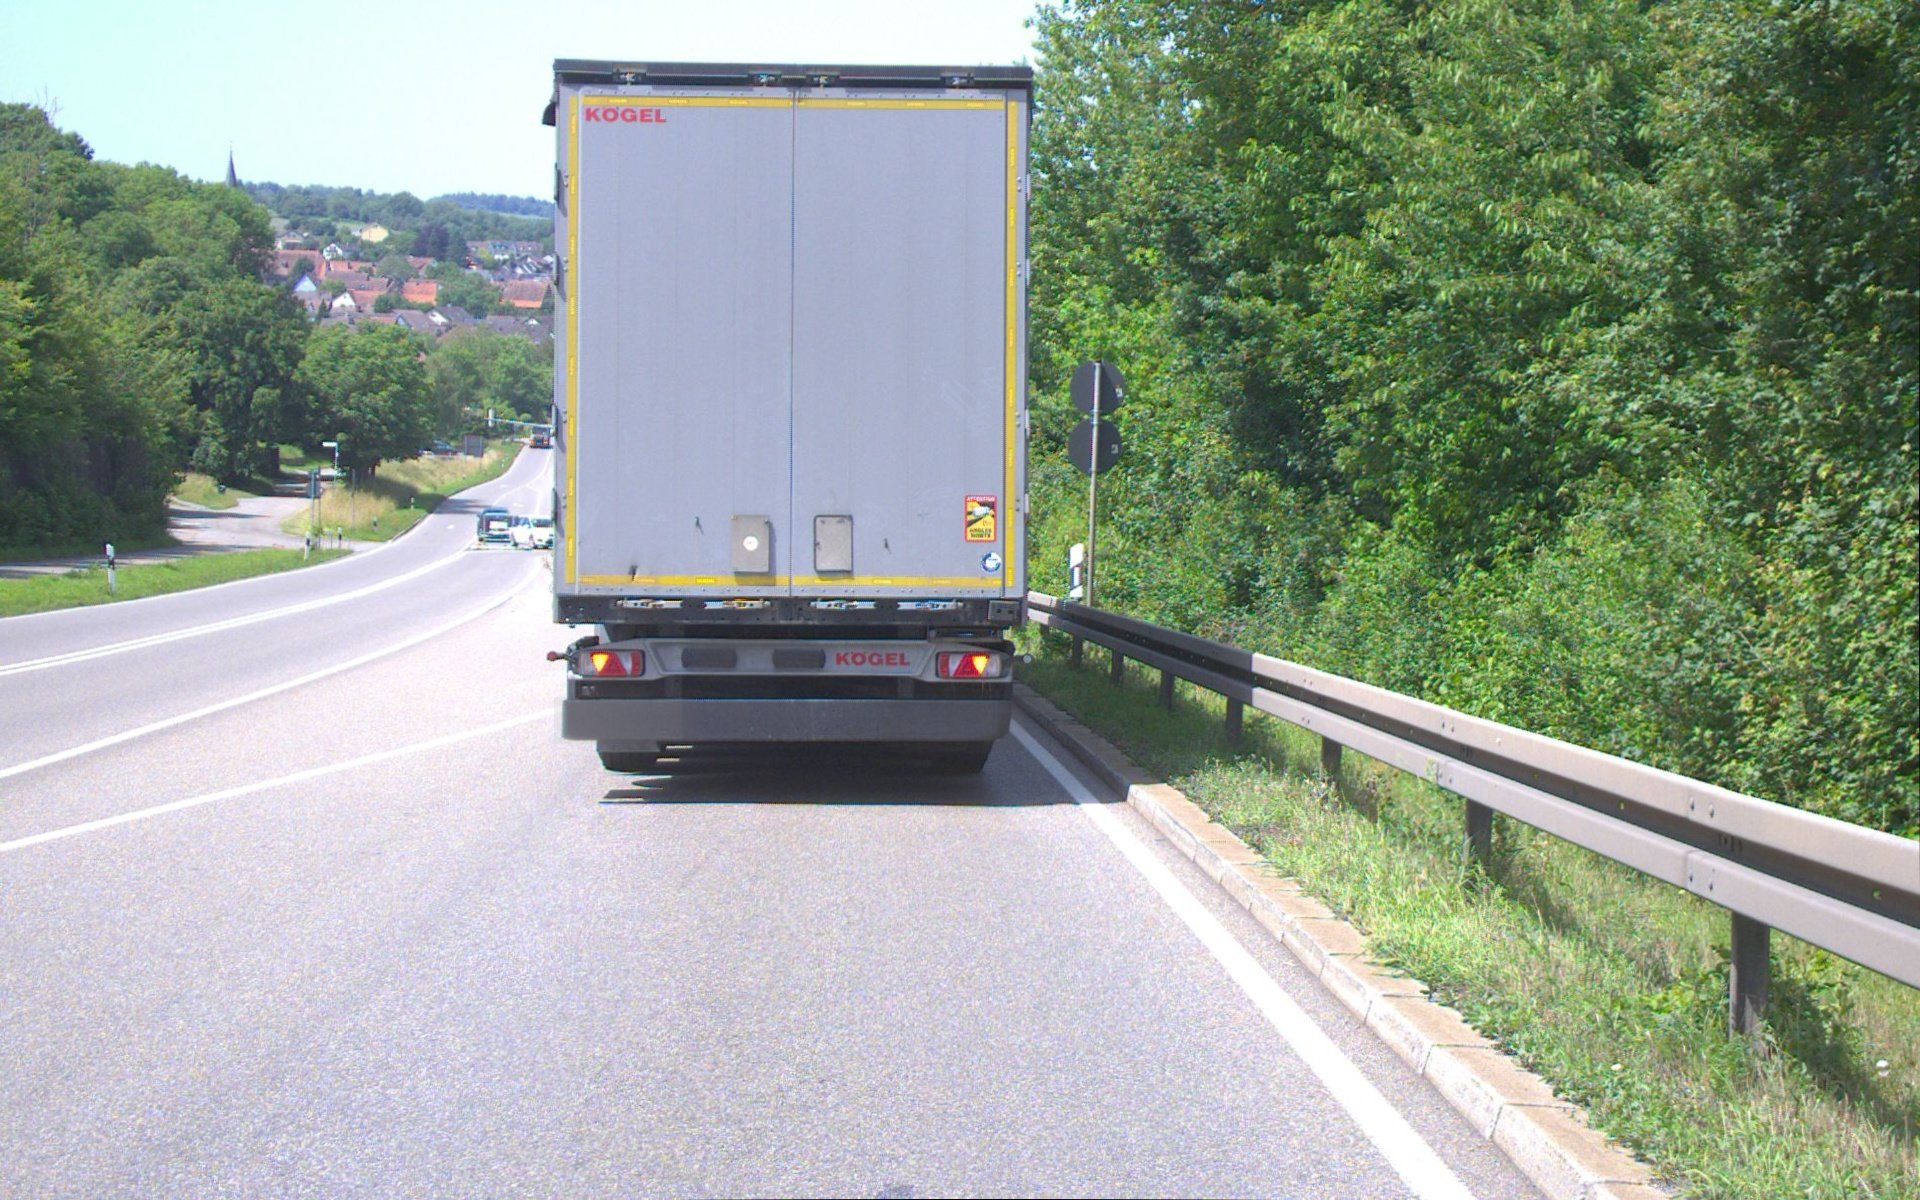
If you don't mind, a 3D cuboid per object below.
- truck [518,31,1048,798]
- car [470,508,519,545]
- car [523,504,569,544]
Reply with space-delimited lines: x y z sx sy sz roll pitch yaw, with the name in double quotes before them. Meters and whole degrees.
"truck" -1.089 -1.116 24.106 2.757 4.016 11.925 1 1 -1
"car" -23.289 -3.681 171.945 1.805 1.788 3.843 1 1 -17
"car" -19.079 -3.479 158.262 1.523 1.788 3.405 1 1 -17
